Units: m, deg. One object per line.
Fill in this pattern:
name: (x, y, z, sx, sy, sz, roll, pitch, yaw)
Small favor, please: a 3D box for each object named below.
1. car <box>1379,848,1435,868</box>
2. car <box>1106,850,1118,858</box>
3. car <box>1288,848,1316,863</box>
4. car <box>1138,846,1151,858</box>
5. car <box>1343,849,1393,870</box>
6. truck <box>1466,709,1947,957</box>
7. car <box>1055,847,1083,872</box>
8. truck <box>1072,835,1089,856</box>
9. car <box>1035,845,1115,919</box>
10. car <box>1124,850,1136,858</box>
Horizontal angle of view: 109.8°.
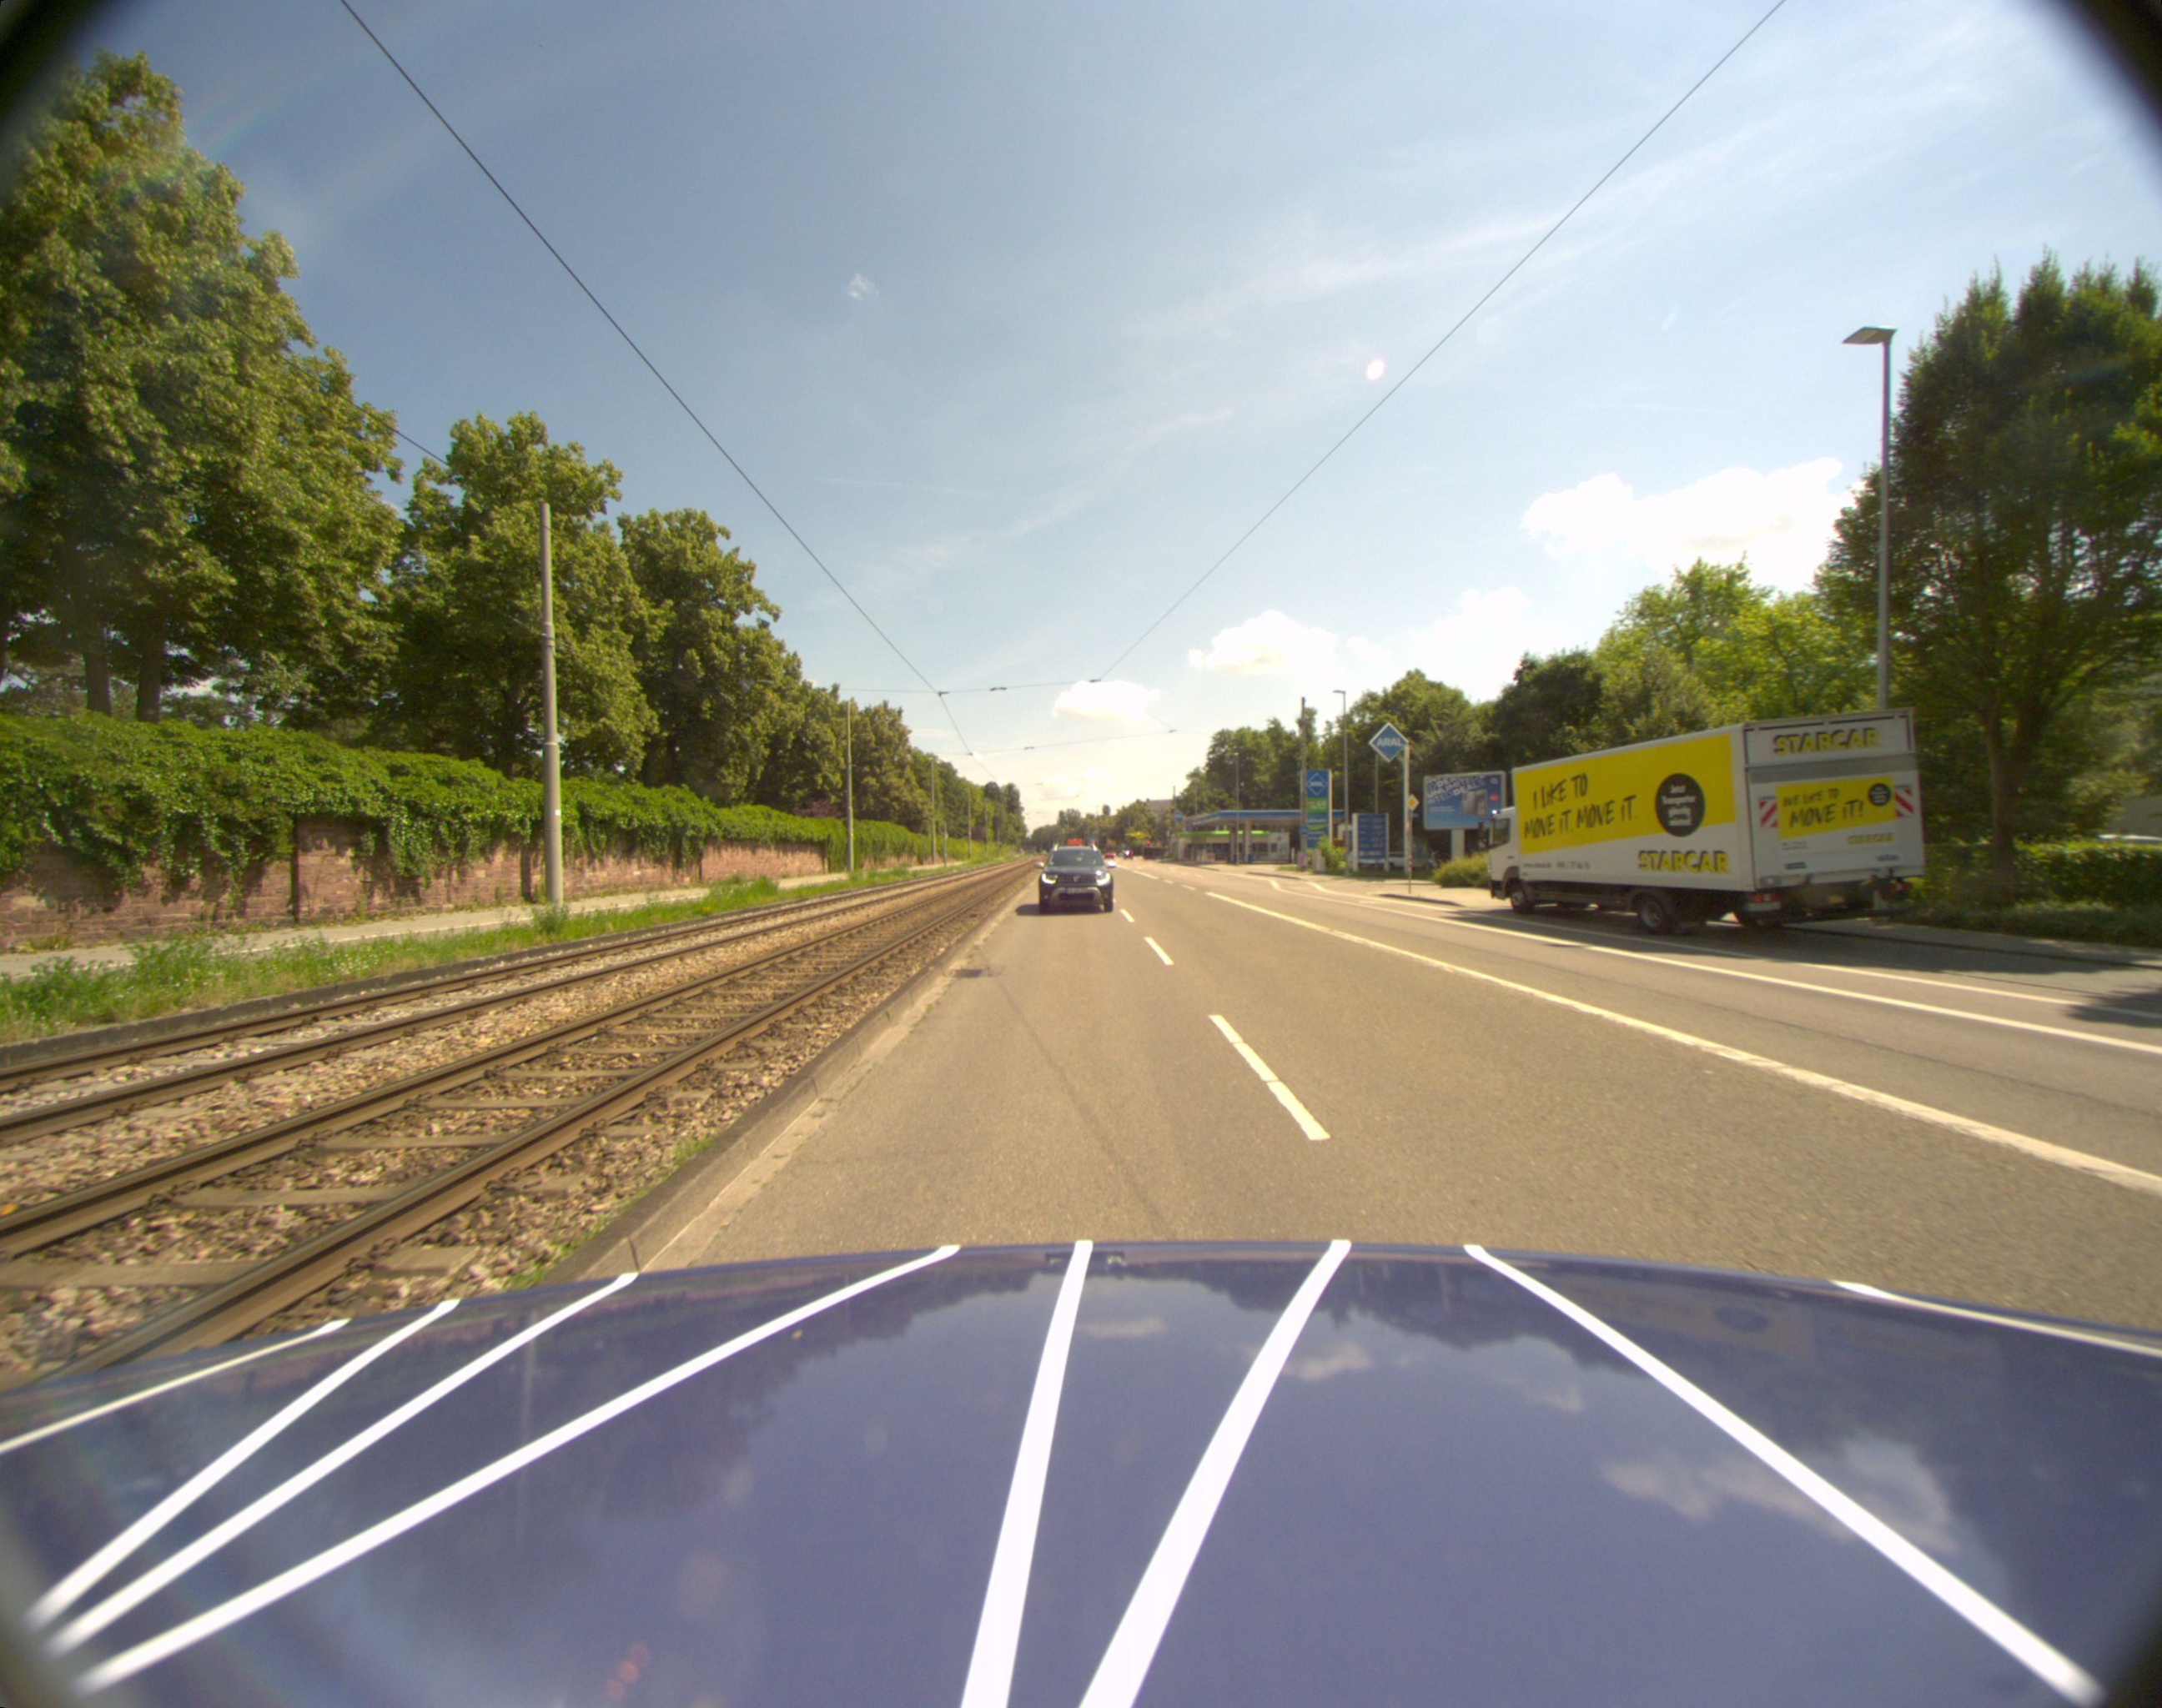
car: (26.062, 0.287, 60.937, 3.991, 1.535, 1.822, 0, 1, 18)
car: (5.416, -0.044, 133.474, 1.998, 1.379, 4.000, 0, 0, 1)
car: (24.554, 0.149, 84.504, 1.848, 1.661, 3.999, 0, 0, -2)
car: (11.031, -0.337, 133.111, 1.998, 2.133, 4.000, 0, 1, 1)
car: (18.836, 0.317, 50.064, 1.818, 1.329, 3.999, 0, 0, 0)
truck: (11.357, -0.337, 15.346, 2.838, 3.528, 8.169, -3, 0, 0)
car: (-0.834, 0.379, 53.719, 1.801, 1.683, 4.144, 0, 1, 1)
truck: (-0.095, -1.511, 134.478, 2.845, 3.575, 8.704, -1, 1, 0)
car: (-0.140, 0.632, 19.823, 1.801, 1.652, 4.787, -1, 0, 0)
car: (8.695, -0.038, 134.517, 1.998, 1.379, 4.000, 0, 0, 1)
